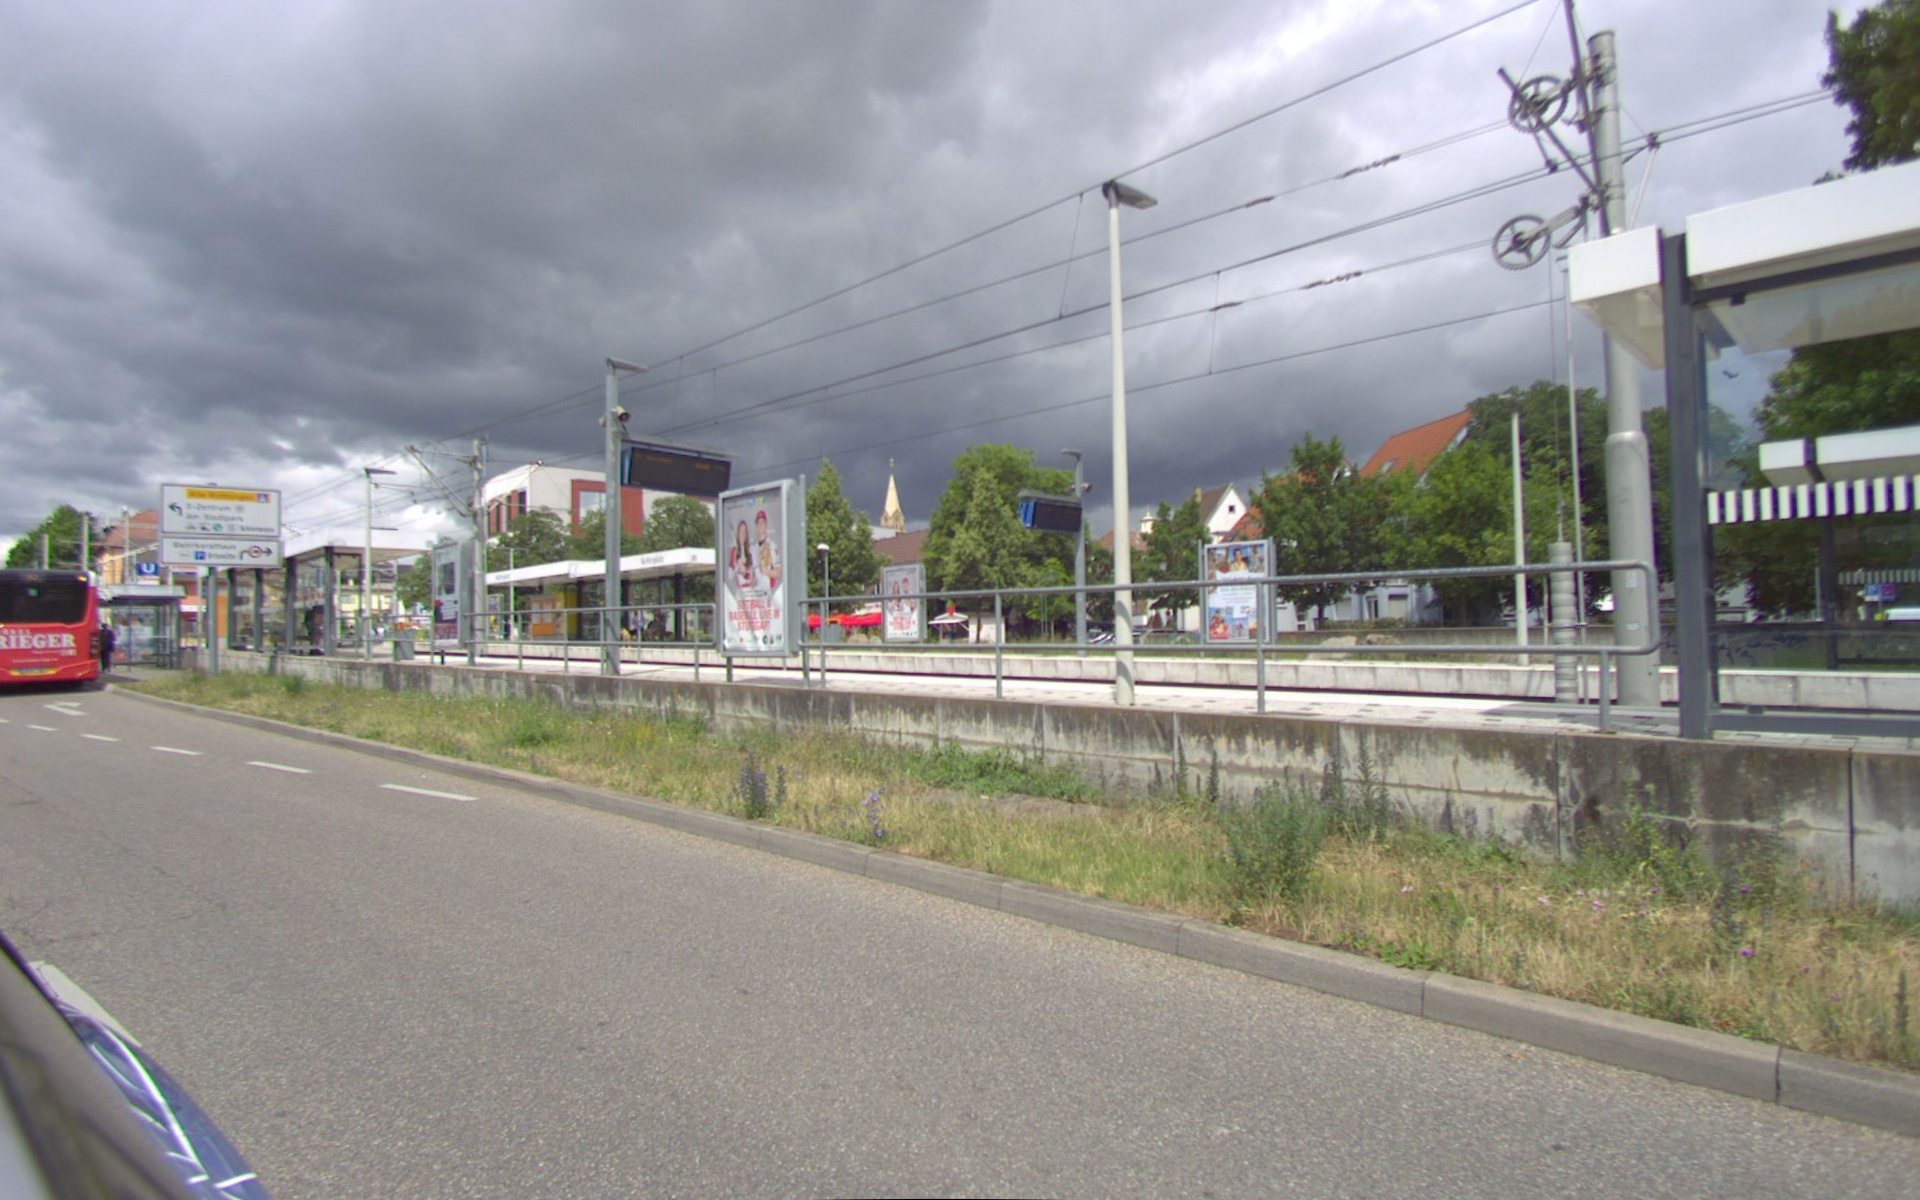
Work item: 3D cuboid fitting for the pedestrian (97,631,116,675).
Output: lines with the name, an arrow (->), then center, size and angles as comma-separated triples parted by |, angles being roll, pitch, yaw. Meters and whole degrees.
pedestrian -> -27.350, 1.697, 32.434 | 0.416, 1.414, 0.409 | 0, -4, -34

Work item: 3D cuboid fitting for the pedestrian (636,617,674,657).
pedestrian -> -10.011, 1.211, 33.210 | 0.748, 1.302, 1.113 | 2, -3, -45

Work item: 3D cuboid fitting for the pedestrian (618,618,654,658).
pedestrian -> -10.894, 1.285, 34.038 | 0.748, 1.302, 1.113 | 2, -3, -45

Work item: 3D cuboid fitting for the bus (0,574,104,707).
bus -> -25.213, 1.135, 27.021 | 8.965, 3.093, 2.695 | -3, -4, 44

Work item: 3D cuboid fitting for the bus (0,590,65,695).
bus -> -32.012, 1.476, 33.538 | 9.704, 3.133, 2.696 | -3, -3, 44

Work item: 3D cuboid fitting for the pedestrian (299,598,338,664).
pedestrian -> -16.622, 0.807, 26.223 | 0.700, 1.669, 0.680 | -5, -4, 43

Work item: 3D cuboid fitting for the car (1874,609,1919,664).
car -> 31.372, 1.057, 31.301 | 1.920, 1.691, 4.409 | 1, -4, -44
